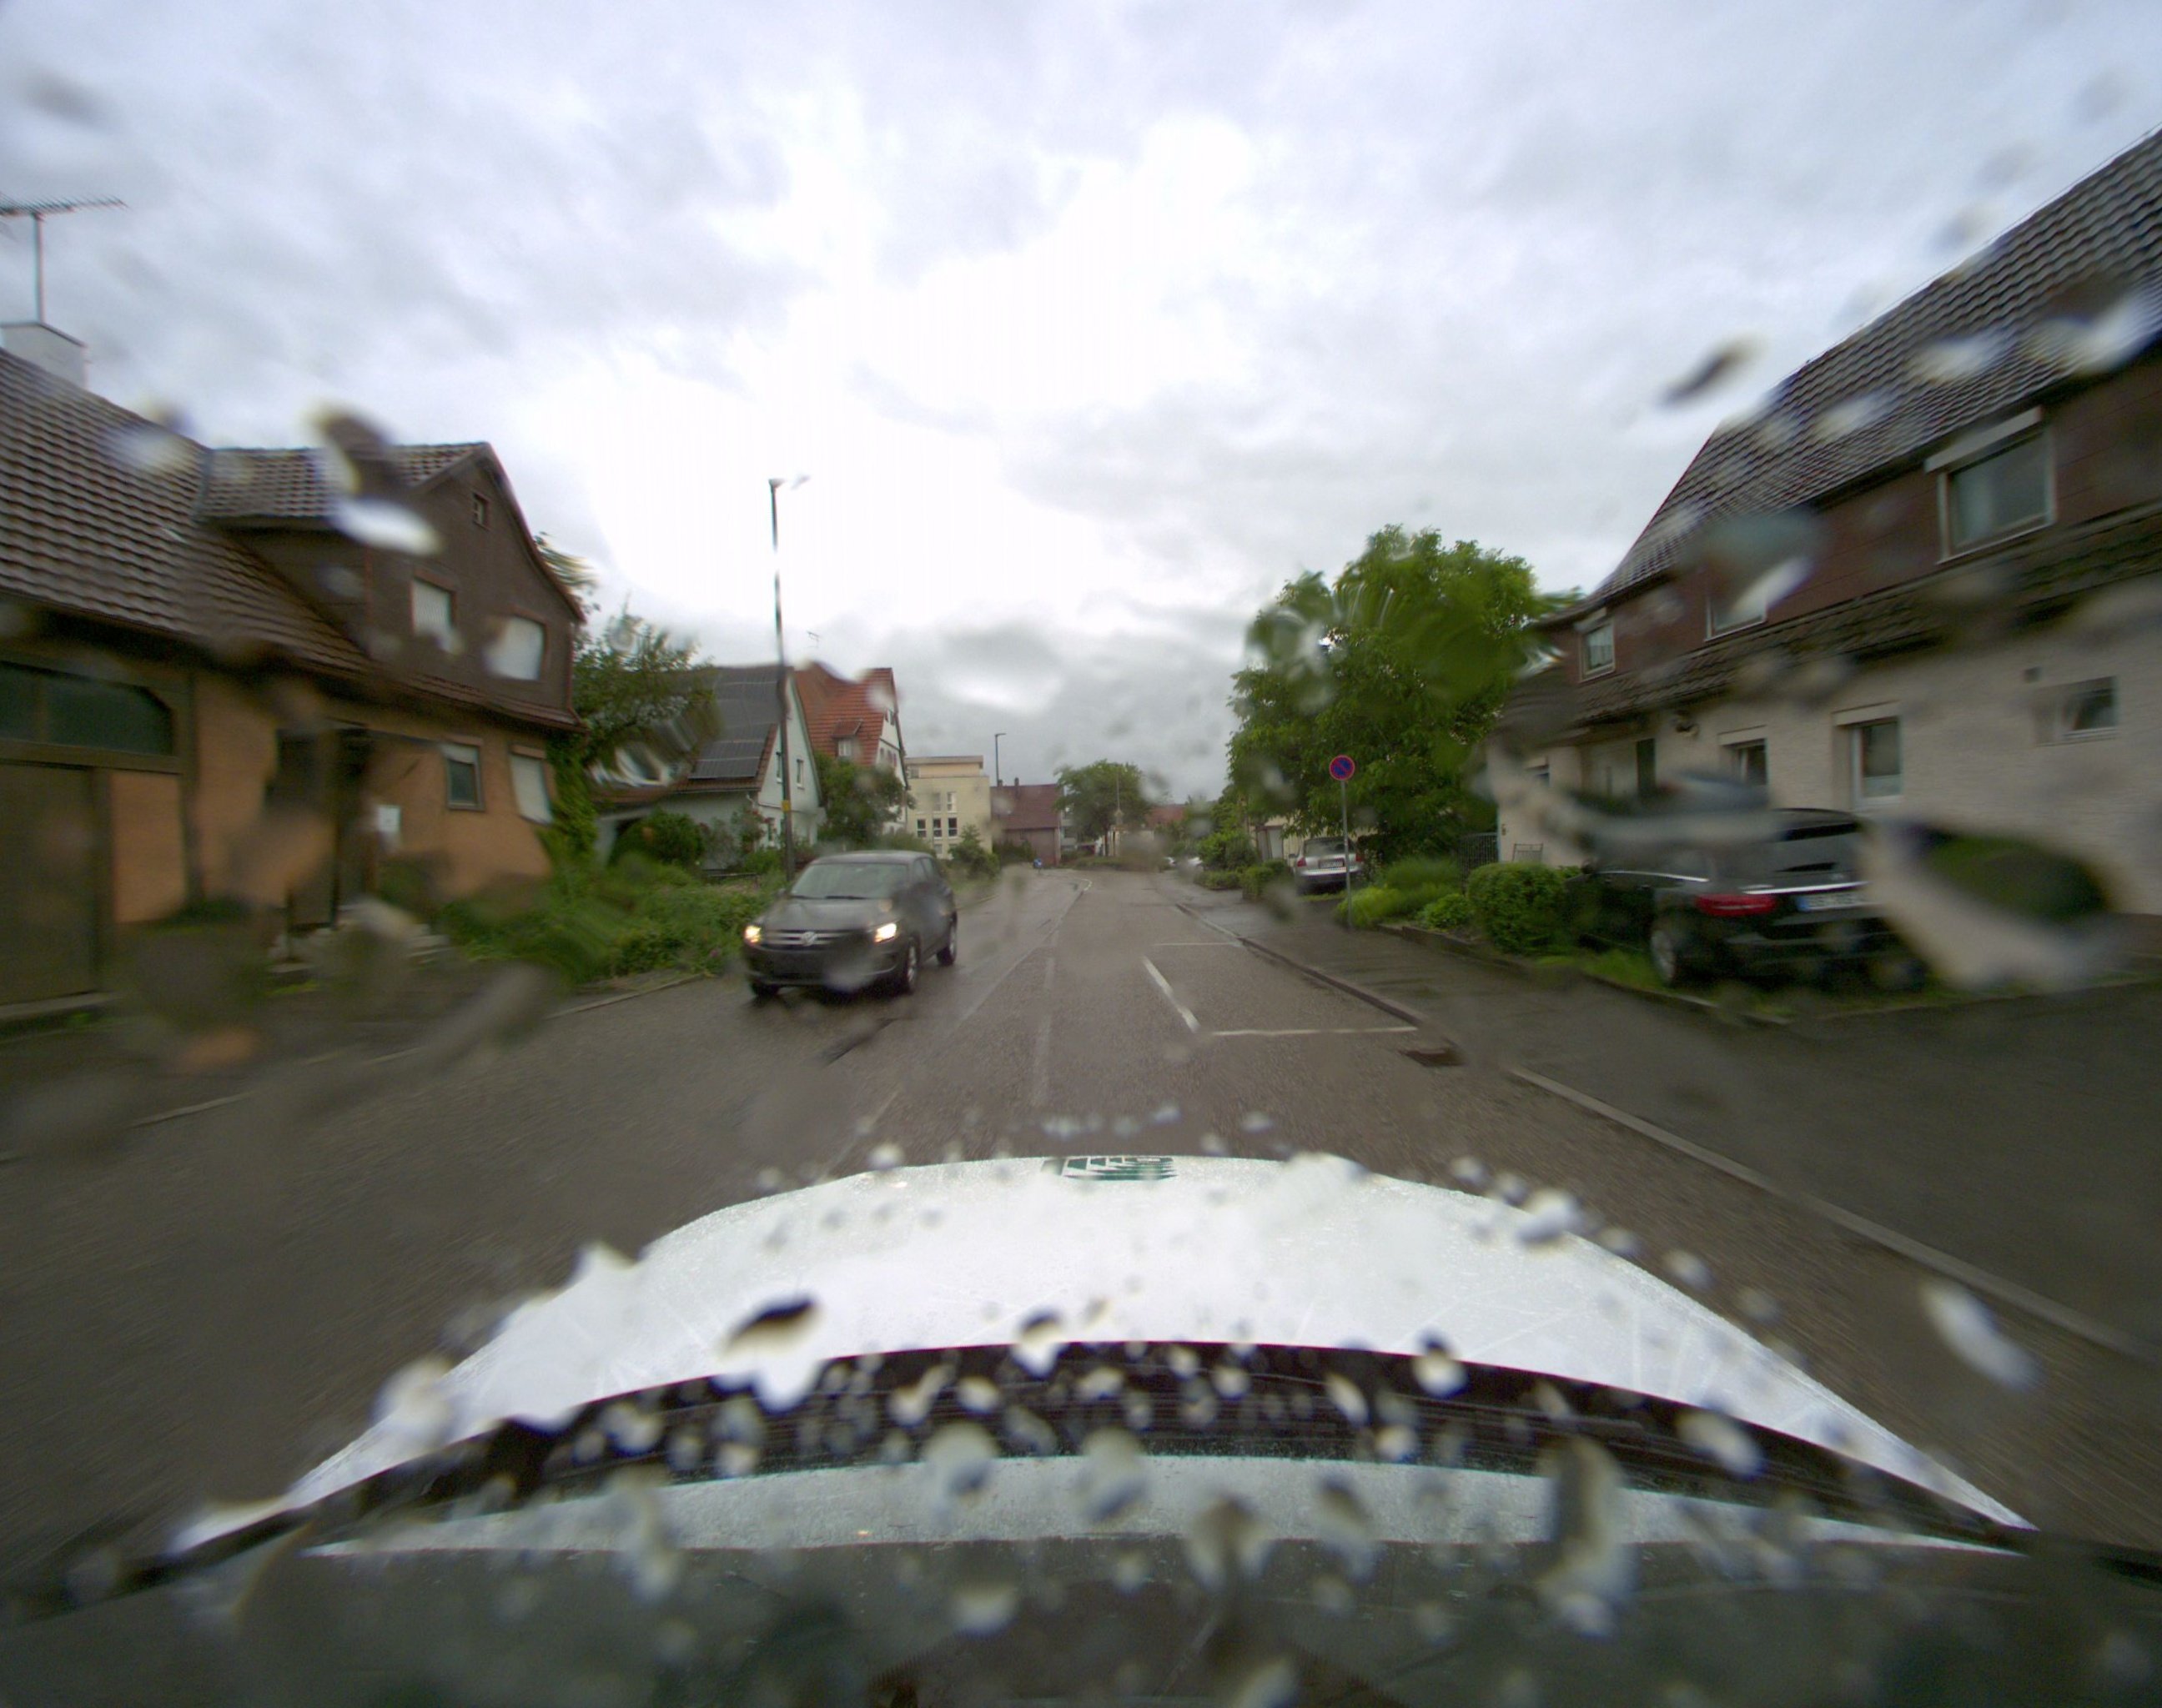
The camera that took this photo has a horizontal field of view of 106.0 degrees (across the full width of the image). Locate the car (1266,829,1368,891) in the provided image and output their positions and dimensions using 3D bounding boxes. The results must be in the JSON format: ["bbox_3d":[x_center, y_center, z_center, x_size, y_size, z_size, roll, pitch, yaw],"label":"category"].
[{"bbox_3d":[6.056,0.154,21.298,1.632,1.430,3.678,-2,0,1],"label":"car"}]

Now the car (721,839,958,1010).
[{"bbox_3d":[-2.723,0.713,10.162,1.793,1.640,3.997,-2,0,-2],"label":"car"}]

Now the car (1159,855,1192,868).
[{"bbox_3d":[11.806,0.967,101.894,3.963,1.420,2.005,-2,0,9],"label":"car"}]

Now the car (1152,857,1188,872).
[{"bbox_3d":[10.466,1.213,95.800,3.958,1.626,2.008,-2,0,14],"label":"car"}]

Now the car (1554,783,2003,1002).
[{"bbox_3d":[6.088,0.249,7.813,1.745,1.393,4.019,-8,-1,18],"label":"car"}]

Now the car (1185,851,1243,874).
[{"bbox_3d":[9.646,0.628,58.771,3.927,1.408,2.007,-3,-1,12],"label":"car"}]
